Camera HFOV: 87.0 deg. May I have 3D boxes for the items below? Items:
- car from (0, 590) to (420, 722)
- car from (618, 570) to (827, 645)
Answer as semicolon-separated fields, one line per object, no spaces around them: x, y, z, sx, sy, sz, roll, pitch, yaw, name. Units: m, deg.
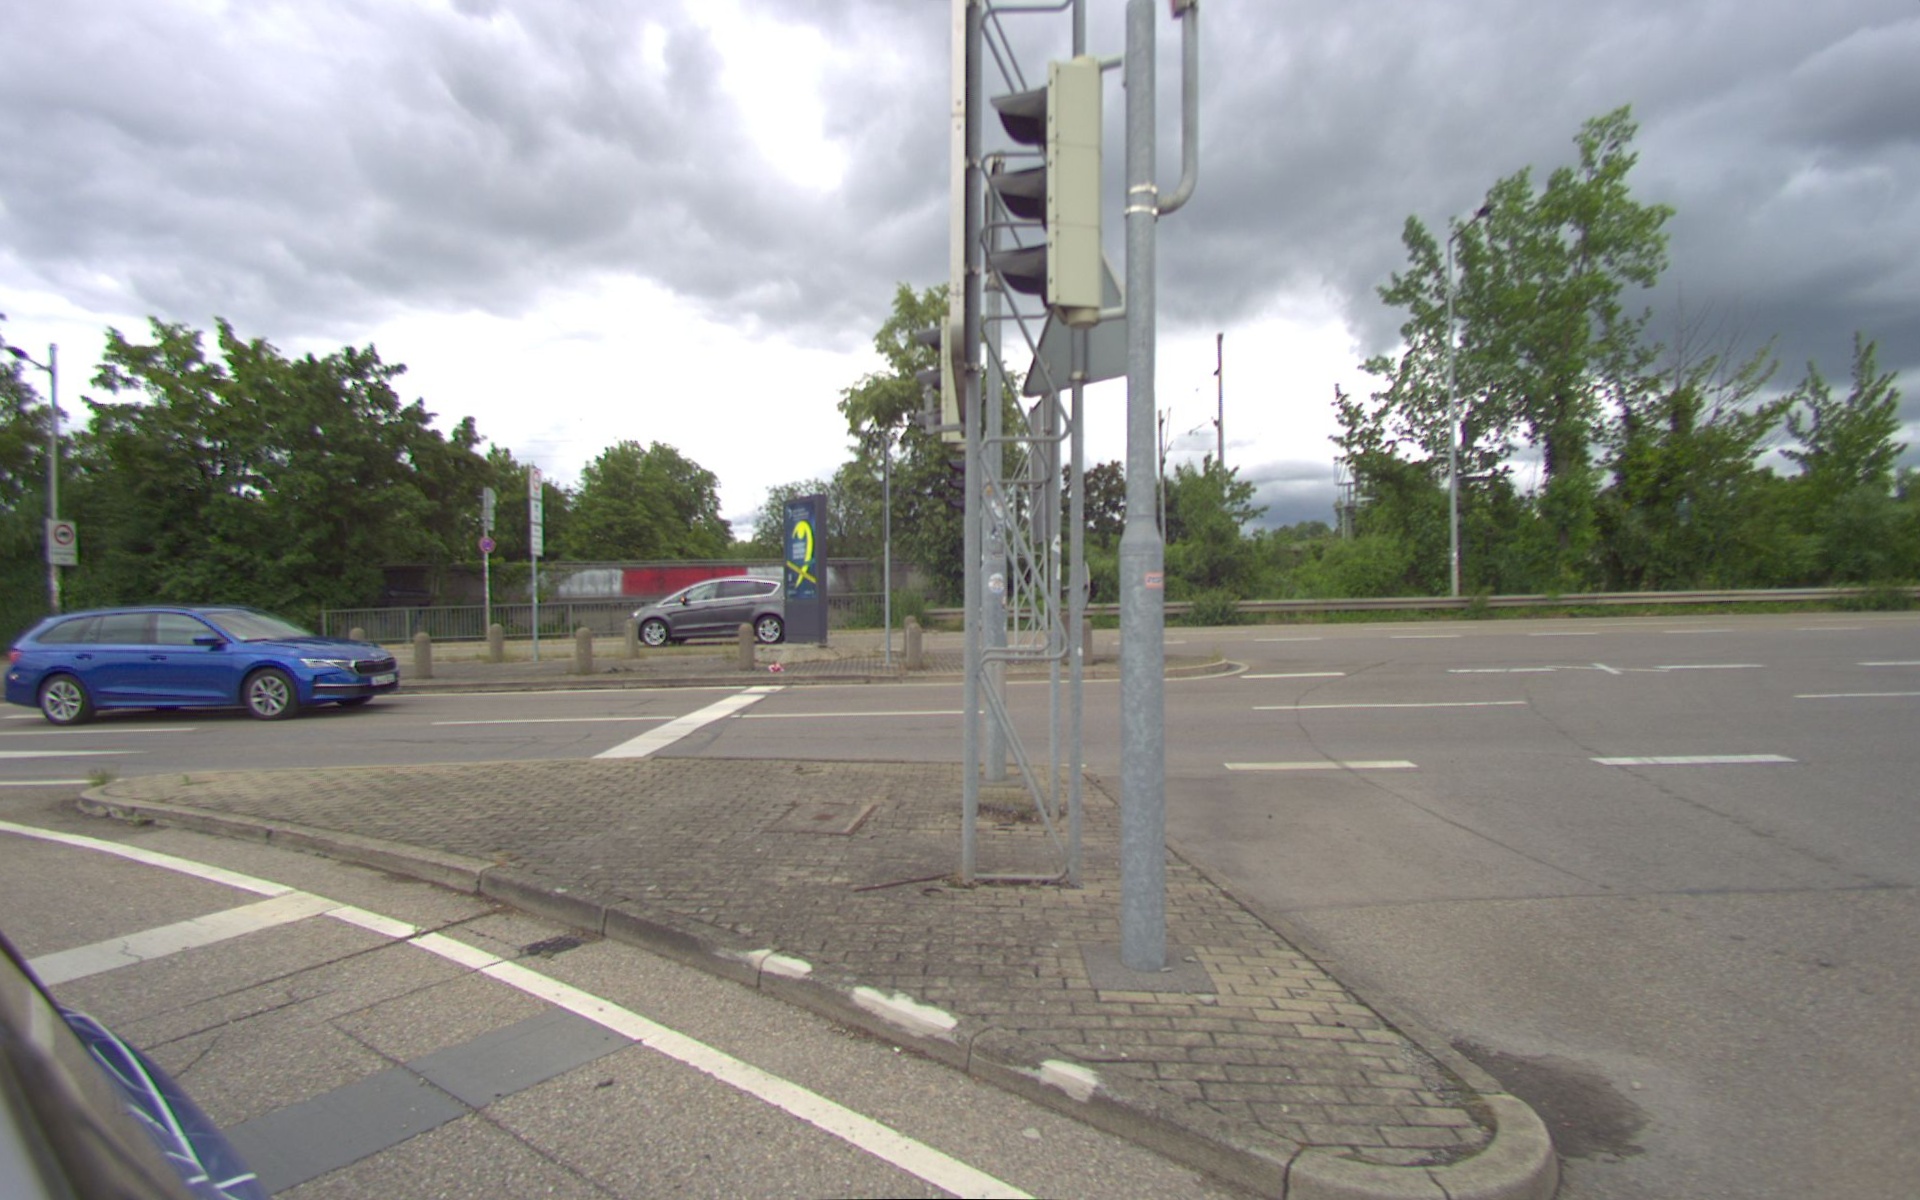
-9.777;0.686;13.178;4.520;1.427;1.842;-2;1;3;car
-5.799;0.173;25.030;4.635;1.583;1.953;-3;0;5;car
